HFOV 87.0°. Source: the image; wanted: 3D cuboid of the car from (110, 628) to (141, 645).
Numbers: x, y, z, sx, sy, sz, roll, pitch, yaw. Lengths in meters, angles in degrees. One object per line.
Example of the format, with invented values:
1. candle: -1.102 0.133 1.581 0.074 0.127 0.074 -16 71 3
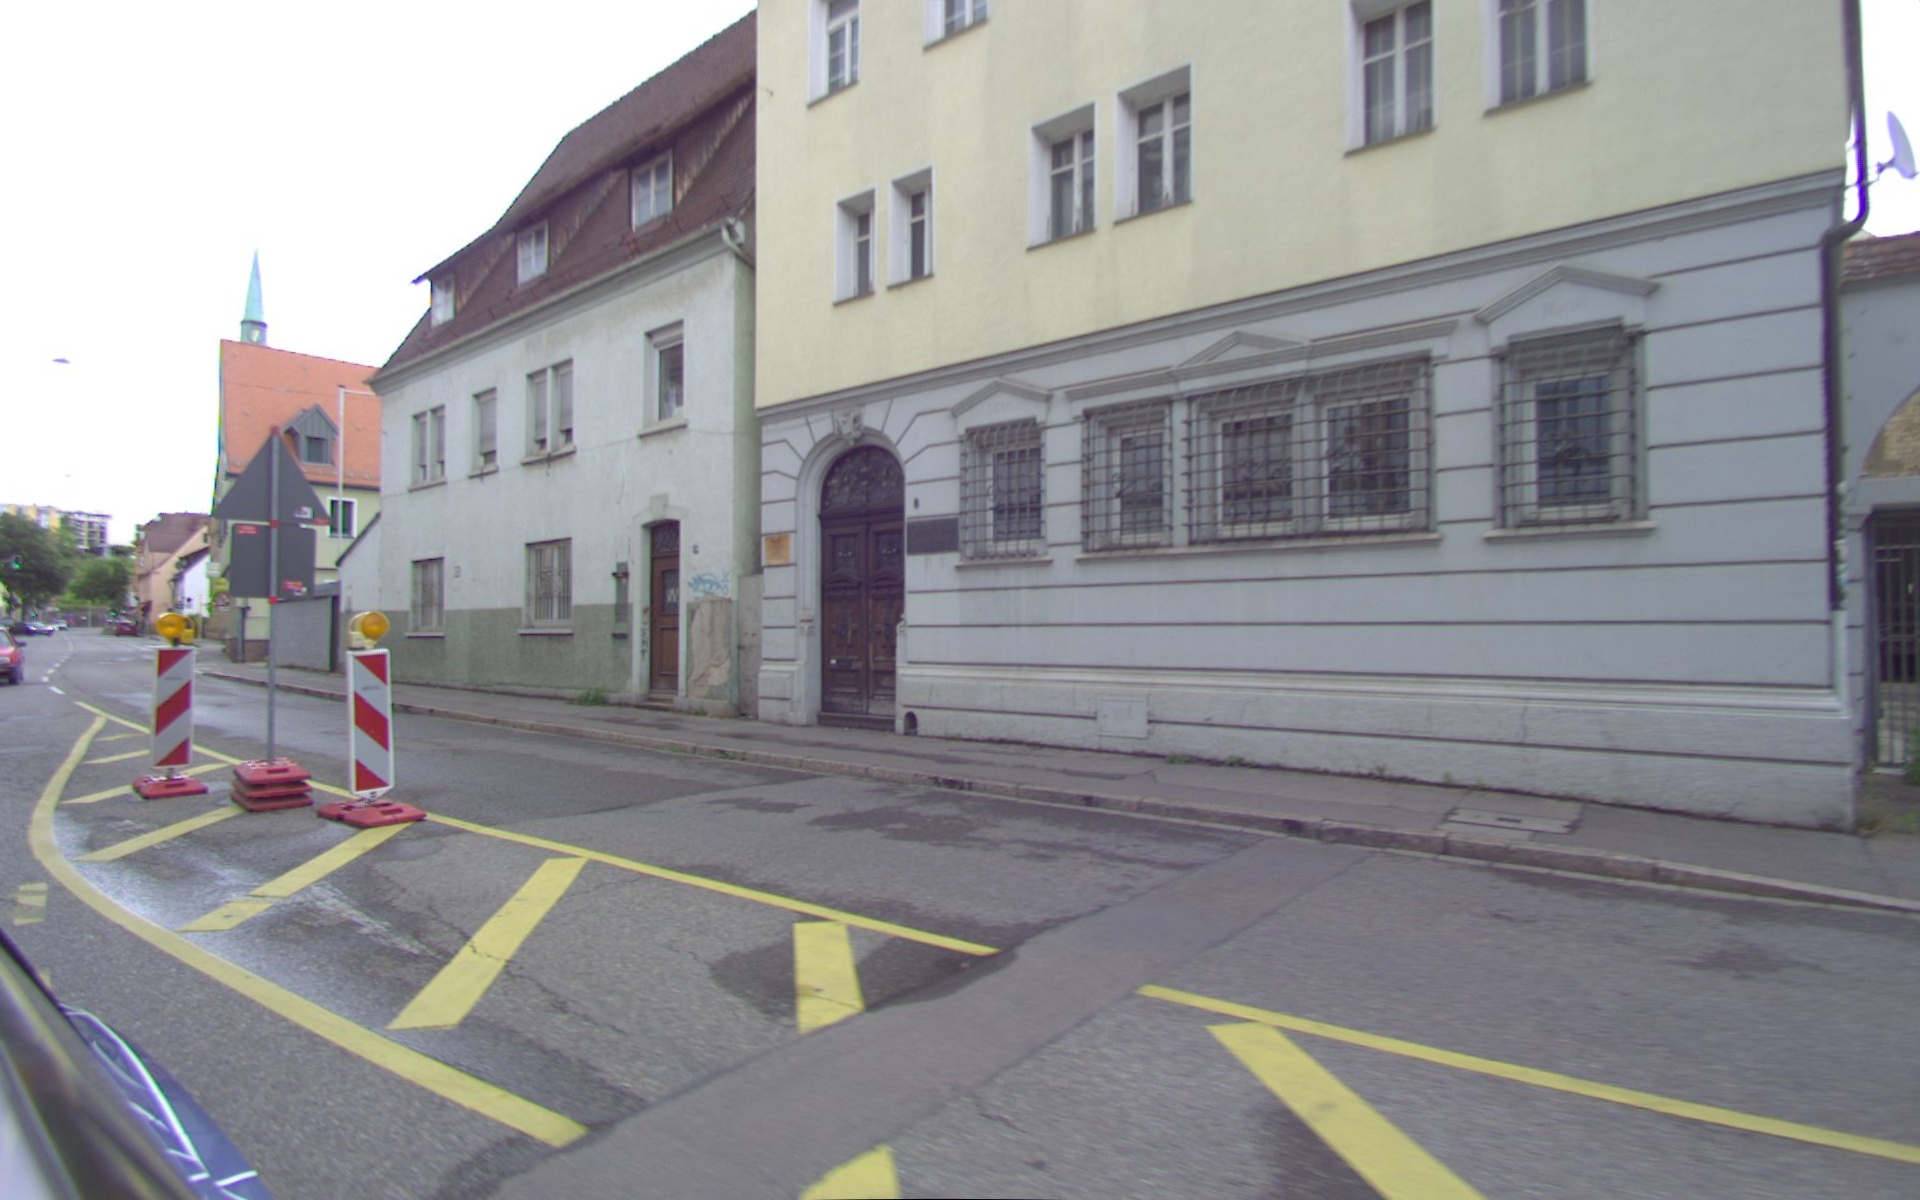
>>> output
1. car: -86.533 3.737 104.903 2.181 1.691 4.503 3 -3 -43

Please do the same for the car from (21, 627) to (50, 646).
1. car: -88.466 3.452 96.857 1.969 1.691 4.005 1 -1 -42

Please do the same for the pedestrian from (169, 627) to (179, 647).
1. pedestrian: -66.654 3.141 85.821 0.628 1.618 0.712 3 -3 -42

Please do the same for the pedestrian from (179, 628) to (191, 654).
1. pedestrian: -65.908 3.484 86.070 0.747 2.138 0.784 1 -3 -42

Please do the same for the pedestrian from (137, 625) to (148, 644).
1. pedestrian: -90.960 3.826 112.557 0.824 2.029 0.846 2 -3 -44

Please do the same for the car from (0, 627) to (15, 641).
1. car: -96.944 3.393 102.309 1.794 1.399 4.007 3 -3 -40

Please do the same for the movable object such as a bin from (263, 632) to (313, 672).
1. movable object such as a bin: -25.232 1.937 37.994 1.099 1.487 1.294 -2 -2 38

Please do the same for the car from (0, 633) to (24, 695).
1. car: -23.991 1.544 24.603 1.660 1.438 4.027 1 -2 -41
